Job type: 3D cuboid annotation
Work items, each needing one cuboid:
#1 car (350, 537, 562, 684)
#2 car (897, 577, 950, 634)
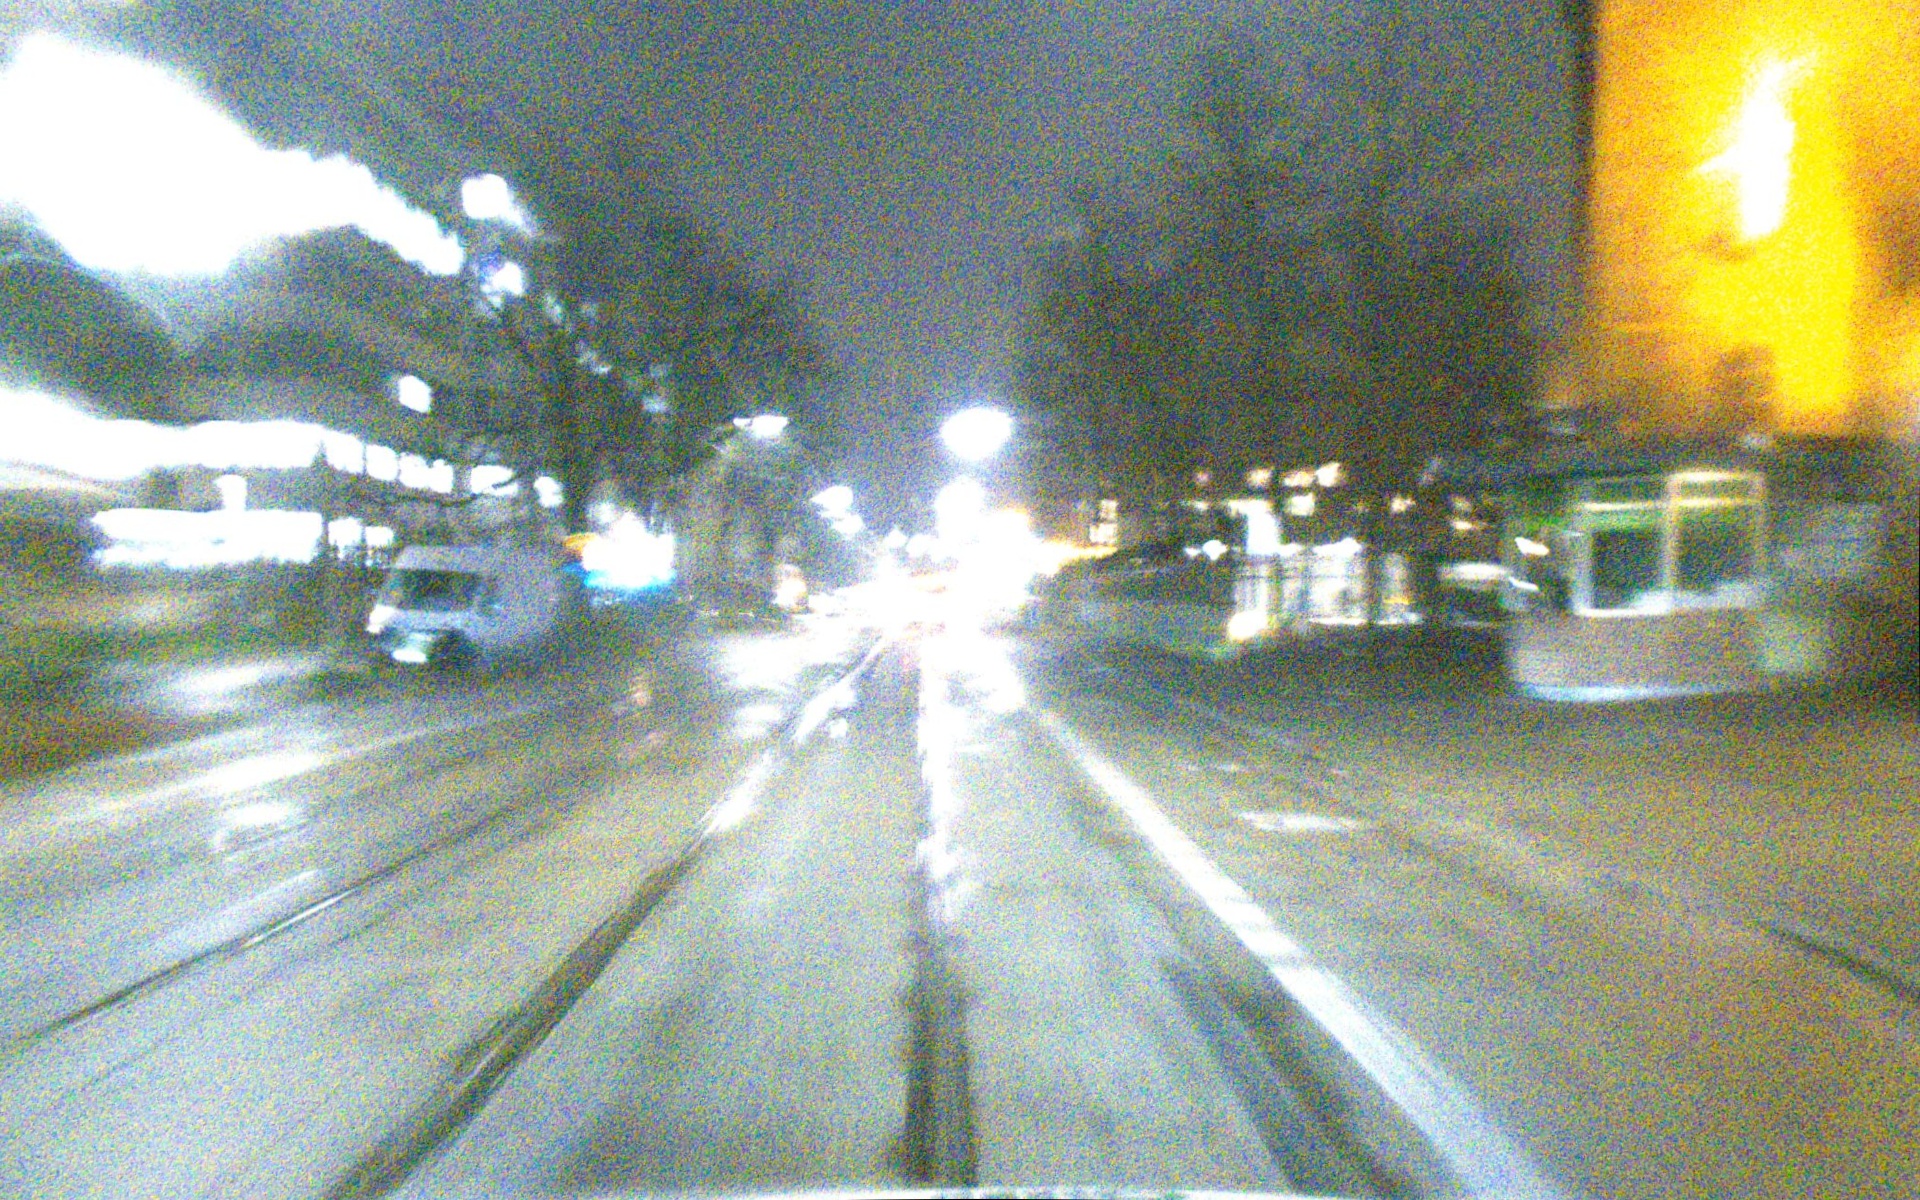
[{"bbox_3d":[-9.799,0.143,32.825,2.140,2.637,6.393,0,1,1],"label":"car"},{"bbox_3d":[-1.623,0.223,72.170,2.199,2.402,4.391,0,0,-2],"label":"car"}]
